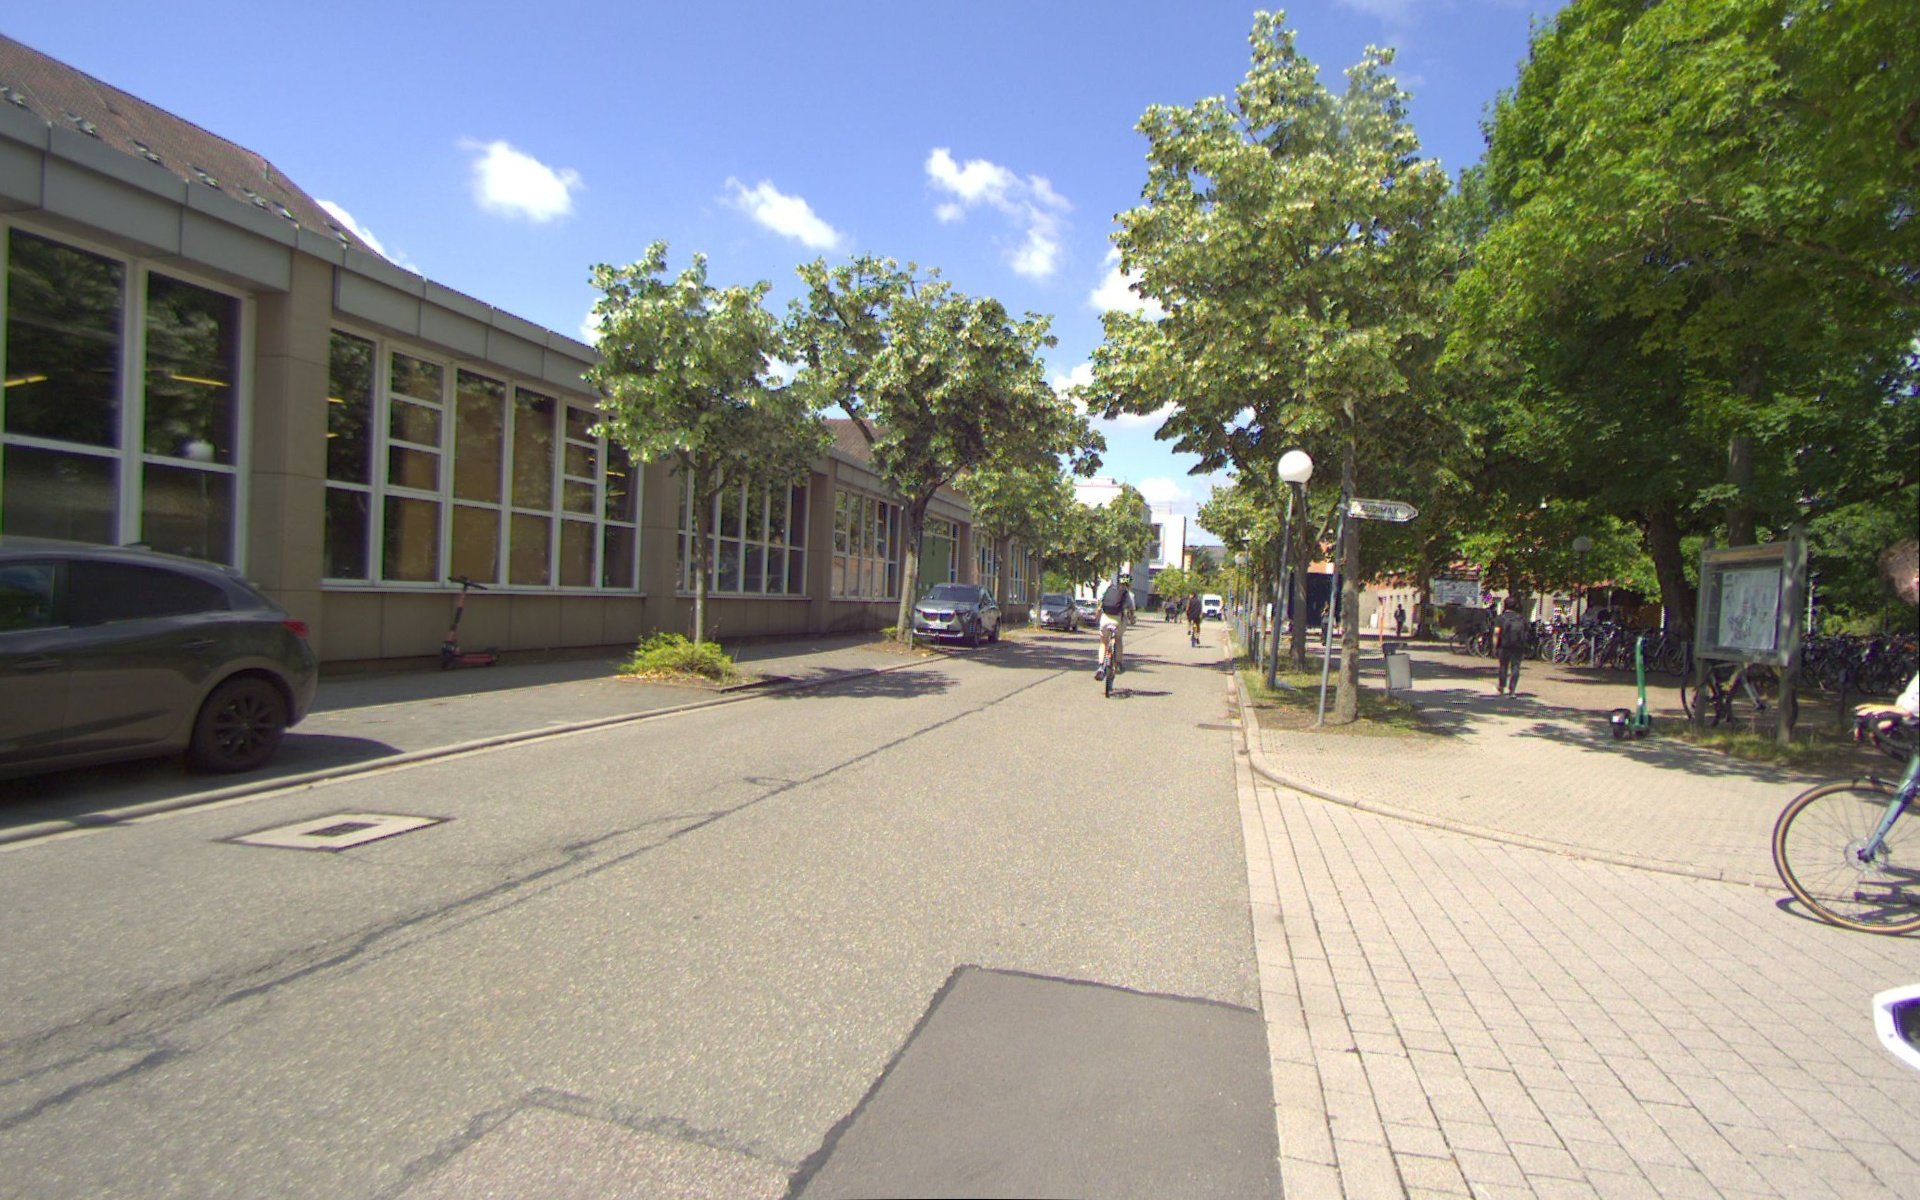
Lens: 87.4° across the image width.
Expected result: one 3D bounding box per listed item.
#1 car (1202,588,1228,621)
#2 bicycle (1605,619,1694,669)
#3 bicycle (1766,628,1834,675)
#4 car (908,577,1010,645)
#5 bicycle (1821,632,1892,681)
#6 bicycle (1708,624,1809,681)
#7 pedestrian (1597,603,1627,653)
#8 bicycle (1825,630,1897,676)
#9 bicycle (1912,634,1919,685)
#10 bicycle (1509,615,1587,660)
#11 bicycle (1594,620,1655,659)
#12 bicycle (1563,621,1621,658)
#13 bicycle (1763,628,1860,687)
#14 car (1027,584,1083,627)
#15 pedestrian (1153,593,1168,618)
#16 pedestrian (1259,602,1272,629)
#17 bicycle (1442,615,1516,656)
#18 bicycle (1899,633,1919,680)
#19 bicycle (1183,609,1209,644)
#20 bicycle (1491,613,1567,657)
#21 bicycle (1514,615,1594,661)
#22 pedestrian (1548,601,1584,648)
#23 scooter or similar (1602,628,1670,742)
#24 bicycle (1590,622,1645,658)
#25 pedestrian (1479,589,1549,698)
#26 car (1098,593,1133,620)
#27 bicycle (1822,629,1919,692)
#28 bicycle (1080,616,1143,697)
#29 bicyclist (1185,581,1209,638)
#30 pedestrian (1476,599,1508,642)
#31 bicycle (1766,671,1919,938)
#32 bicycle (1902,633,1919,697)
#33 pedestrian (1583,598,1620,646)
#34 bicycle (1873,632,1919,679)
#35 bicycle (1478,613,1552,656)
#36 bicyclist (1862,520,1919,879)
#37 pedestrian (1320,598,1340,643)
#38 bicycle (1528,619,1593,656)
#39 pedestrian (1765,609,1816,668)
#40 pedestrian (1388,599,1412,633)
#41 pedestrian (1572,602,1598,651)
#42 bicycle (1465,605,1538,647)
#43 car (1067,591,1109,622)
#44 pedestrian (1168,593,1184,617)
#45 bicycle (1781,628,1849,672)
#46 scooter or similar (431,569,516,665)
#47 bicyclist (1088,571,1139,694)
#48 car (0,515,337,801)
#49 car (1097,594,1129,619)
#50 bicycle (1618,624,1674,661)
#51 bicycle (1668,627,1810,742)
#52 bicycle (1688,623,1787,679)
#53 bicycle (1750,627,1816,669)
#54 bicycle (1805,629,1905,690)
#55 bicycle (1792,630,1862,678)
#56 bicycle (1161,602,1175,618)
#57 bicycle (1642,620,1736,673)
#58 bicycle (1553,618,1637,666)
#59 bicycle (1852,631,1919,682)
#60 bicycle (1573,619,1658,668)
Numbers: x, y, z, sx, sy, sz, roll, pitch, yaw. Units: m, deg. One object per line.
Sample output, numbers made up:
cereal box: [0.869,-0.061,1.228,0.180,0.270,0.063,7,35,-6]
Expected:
car: [25.691,0.446,101.221,2.224,3.054,5.742,4,0,13]
bicycle: [16.809,1.076,24.493,1.995,1.123,0.501,3,2,-13]
bicycle: [20.849,1.280,24.923,1.833,1.098,0.471,2,2,-23]
car: [0.075,0.267,28.236,1.801,1.639,4.541,4,1,13]
bicycle: [21.302,1.353,23.867,1.833,1.098,0.471,2,2,-23]
bicycle: [17.200,1.134,21.636,1.995,1.123,0.501,3,2,-13]
pedestrian: [24.157,1.013,37.232,0.597,1.798,0.659,3,2,9]
bicycle: [23.184,1.366,25.853,1.671,1.098,0.472,3,2,-15]
bicycle: [21.548,1.330,21.863,1.833,1.098,0.471,2,2,-23]
bicycle: [16.155,1.022,27.613,1.995,1.123,0.501,3,2,-13]
bicycle: [20.694,1.228,31.289,1.829,1.098,0.472,3,2,-17]
bicycle: [20.434,1.287,32.480,1.829,1.098,0.472,3,2,-17]
bicycle: [17.502,1.187,20.637,1.998,1.123,0.501,3,2,-18]
car: [4.155,0.230,43.410,1.801,1.655,4.541,3,1,13]
pedestrian: [14.968,0.387,74.970,0.756,1.798,0.906,2,2,-8]
pedestrian: [17.666,0.893,58.059,0.610,1.540,0.736,3,2,17]
bicycle: [15.870,1.073,30.710,1.992,1.123,0.502,3,2,-4]
bicycle: [23.763,1.407,24.424,1.671,1.098,0.472,3,2,-15]
bicycle: [7.928,0.876,33.758,0.656,1.123,2.073,2,0,9]
bicycle: [16.063,0.996,28.346,1.995,1.123,0.501,3,2,-13]
bicycle: [16.137,1.035,27.283,1.995,1.123,0.501,3,2,-13]
pedestrian: [24.199,0.953,40.148,0.755,1.798,0.906,3,2,-3]
scooter or similar: [7.646,0.940,11.349,1.176,1.211,0.289,2,1,-40]
bicycle: [22.045,1.346,33.670,1.671,1.098,0.472,3,2,-15]
pedestrian: [9.074,0.688,16.481,0.713,1.706,0.874,2,1,11]
car: [9.732,0.396,62.643,1.801,1.562,4.541,3,1,13]
bicycle: [17.822,1.183,19.612,1.998,1.123,0.501,3,2,-18]
bicycle: [2.363,0.828,15.459,0.593,1.123,2.073,2,0,18]
bicyclist: [7.953,0.315,33.748,0.656,1.900,0.828,2,0,9]
pedestrian: [23.419,0.900,44.236,0.902,1.798,0.785,3,2,-3]
bicycle: [4.756,0.942,4.480,1.791,1.123,0.638,0,1,38]
bicycle: [18.172,1.214,18.285,1.972,1.123,0.501,3,2,-16]
pedestrian: [25.753,0.879,40.349,0.755,1.826,0.906,3,2,-3]
bicycle: [23.656,1.403,25.013,1.671,1.098,0.472,3,2,-15]
bicycle: [16.020,0.994,29.006,1.995,1.123,0.501,3,2,-13]
bicyclist: [4.685,0.443,4.528,0.861,1.594,0.638,1,1,38]
pedestrian: [13.056,0.723,35.460,0.560,1.540,0.840,3,2,22]
bicycle: [20.063,1.247,33.563,1.823,1.098,0.474,3,2,-2]
pedestrian: [26.516,1.212,32.087,0.755,1.798,0.906,3,2,-3]
pedestrian: [23.909,0.871,54.568,0.755,1.798,0.906,3,2,-3]
pedestrian: [23.266,0.975,37.416,0.492,1.795,0.671,3,2,8]
bicycle: [15.910,0.762,29.510,1.995,1.123,0.501,3,2,-13]
car: [6.960,0.335,54.277,1.801,1.562,4.541,3,1,13]
pedestrian: [16.145,0.366,75.111,0.756,1.798,0.906,2,2,-8]
bicycle: [22.967,1.345,26.984,1.671,1.098,0.472,3,2,-15]
scooter or similar: [-6.613,0.223,13.704,0.284,1.242,1.159,3,1,18]
bicyclist: [2.371,0.483,15.446,0.593,1.826,0.899,2,0,18]
car: [-5.857,0.259,5.445,1.620,1.495,4.213,5,2,14]
car: [10.540,0.428,68.921,1.801,1.562,4.541,3,1,13]
bicycle: [22.333,1.381,32.701,1.671,1.098,0.472,3,2,-15]
bicycle: [8.947,0.924,11.626,0.385,1.123,1.840,3,2,9]
bicycle: [17.170,1.130,22.181,1.995,1.123,0.501,3,2,-13]
bicycle: [22.932,1.338,27.977,1.671,1.098,0.472,3,2,-15]
bicycle: [17.734,1.187,19.902,1.998,1.123,0.501,3,2,-18]
bicycle: [21.003,1.309,24.338,1.833,1.098,0.471,2,2,-23]
bicycle: [15.564,0.725,75.268,0.465,1.098,1.697,3,2,-8]
bicycle: [16.946,1.085,23.348,1.995,1.123,0.501,3,2,-13]
bicycle: [16.357,1.081,25.881,1.995,1.123,0.501,3,2,-13]
bicycle: [21.453,1.311,23.220,1.833,1.098,0.471,2,2,-23]
bicycle: [16.485,1.083,25.264,1.995,1.123,0.501,3,2,-13]
